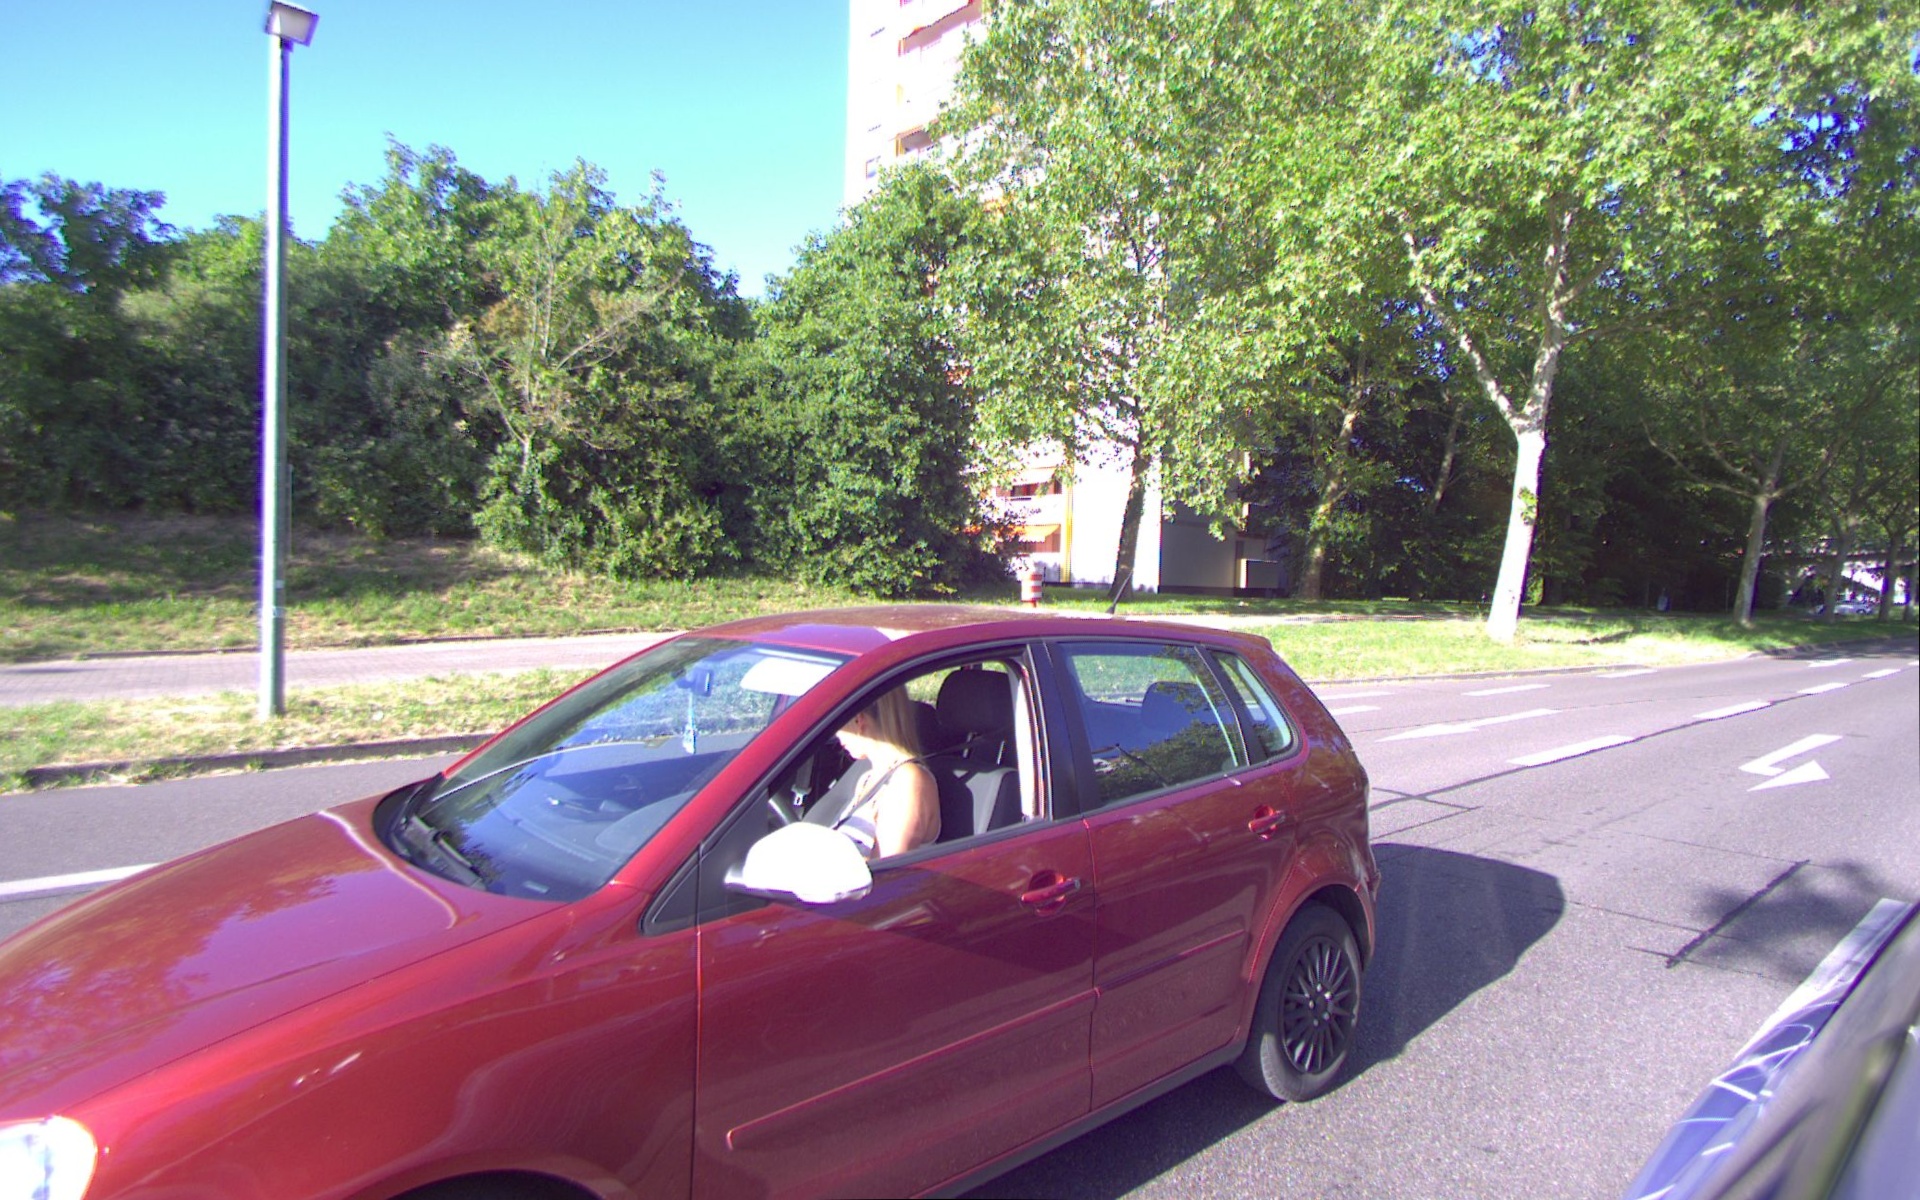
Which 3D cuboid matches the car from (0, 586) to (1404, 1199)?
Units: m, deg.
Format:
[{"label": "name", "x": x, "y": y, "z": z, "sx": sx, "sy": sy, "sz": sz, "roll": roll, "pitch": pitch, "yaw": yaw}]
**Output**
[{"label": "car", "x": -0.443, "y": 0.708, "z": 2.730, "sx": 3.624, "sy": 1.479, "sz": 1.579, "roll": -1, "pitch": 0, "yaw": -40}]
